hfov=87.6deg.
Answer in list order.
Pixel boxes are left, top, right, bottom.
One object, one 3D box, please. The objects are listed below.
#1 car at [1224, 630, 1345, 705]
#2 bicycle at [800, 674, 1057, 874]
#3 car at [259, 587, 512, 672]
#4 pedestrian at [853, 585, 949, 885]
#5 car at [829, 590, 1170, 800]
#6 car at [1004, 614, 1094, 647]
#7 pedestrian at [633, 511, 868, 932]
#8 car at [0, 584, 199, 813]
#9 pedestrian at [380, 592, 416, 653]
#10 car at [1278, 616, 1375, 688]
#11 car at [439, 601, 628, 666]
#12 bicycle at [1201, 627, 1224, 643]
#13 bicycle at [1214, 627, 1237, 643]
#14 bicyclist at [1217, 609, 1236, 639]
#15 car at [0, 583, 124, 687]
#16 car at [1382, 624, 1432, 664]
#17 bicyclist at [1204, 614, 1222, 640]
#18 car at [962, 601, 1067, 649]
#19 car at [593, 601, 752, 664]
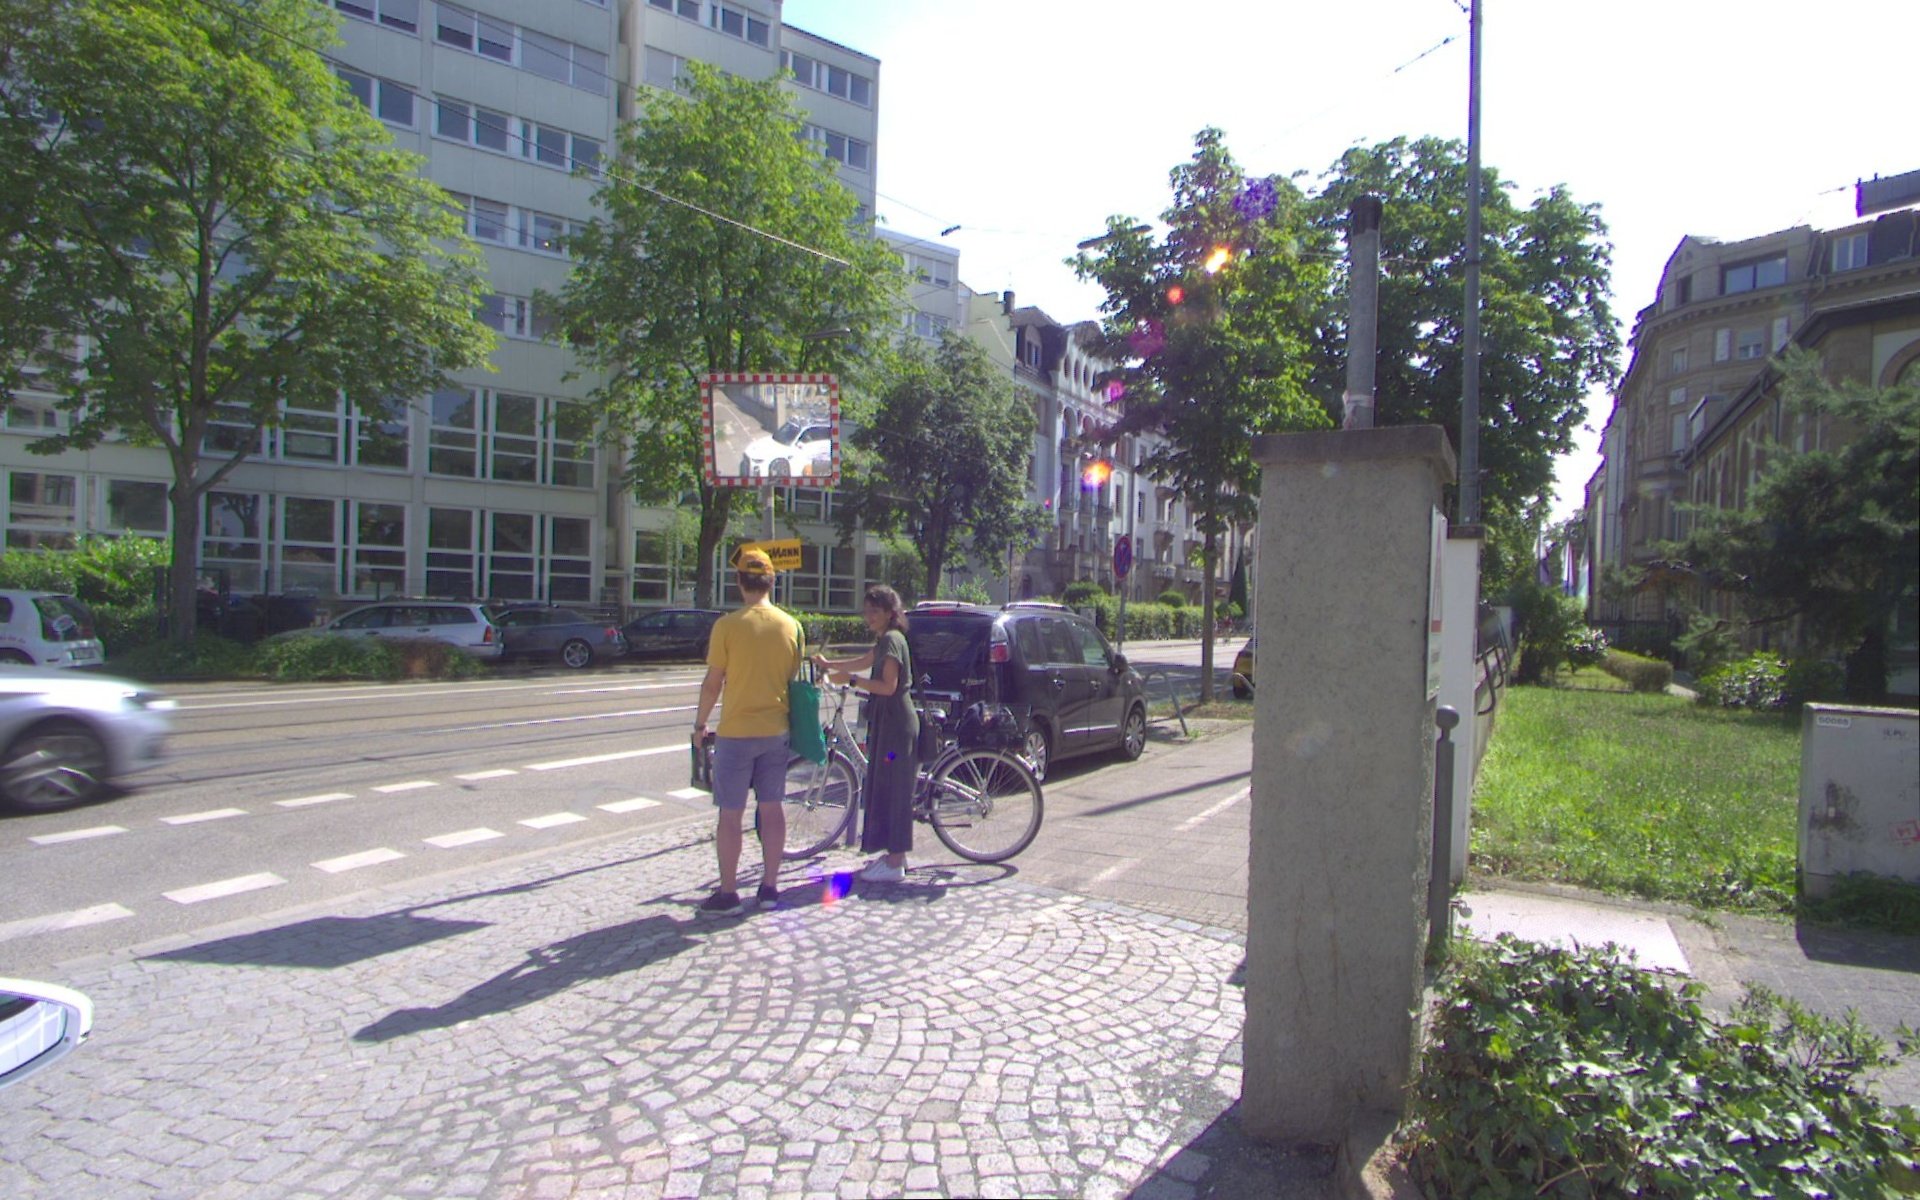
[{"bbox_3d":[7.218,1.402,22.024,1.828,1.430,3.984,1,-1,28],"label":"car"},{"bbox_3d":[-0.187,1.018,6.040,1.484,1.055,0.363,2,0,12],"label":"bicycle"},{"bbox_3d":[-11.724,0.629,20.746,4.270,1.625,1.555,2,-1,-19],"label":"car"},{"bbox_3d":[-0.331,0.749,5.746,0.445,1.642,0.422,-1,-1,12],"label":"pedestrian"},{"bbox_3d":[0.618,0.827,10.414,1.829,1.706,3.981,1,-1,31],"label":"car"},{"bbox_3d":[4.340,1.490,49.202,3.929,1.528,1.997,2,-1,-16],"label":"car"},{"bbox_3d":[-1.067,0.557,5.083,0.845,1.889,0.823,2,0,-40],"label":"pedestrian"},{"bbox_3d":[-7.542,0.590,5.837,1.863,1.426,4.575,3,0,29],"label":"car"},{"bbox_3d":[-13.932,0.556,24.841,0.417,1.480,0.620,2,0,27],"label":"pedestrian"},{"bbox_3d":[9.739,1.308,26.437,1.828,1.702,3.984,1,-1,28],"label":"car"},{"bbox_3d":[-9.885,0.784,23.493,3.875,1.375,1.556,2,0,-16],"label":"car"},{"bbox_3d":[15.585,2.150,61.689,0.670,0.929,2.309,2,0,32],"label":"bicycle"},{"bbox_3d":[16.186,2.143,61.028,0.670,0.929,2.309,2,0,32],"label":"bicycle"},{"bbox_3d":[16.215,1.456,60.920,0.793,1.824,0.860,2,0,33],"label":"bicyclist"},{"bbox_3d":[-15.148,0.485,14.854,3.874,1.505,1.610,1,0,-15],"label":"car"},{"bbox_3d":[20.853,2.014,46.624,1.828,1.702,3.984,1,-1,28],"label":"car"},{"bbox_3d":[15.544,1.658,61.580,0.793,1.563,0.860,2,0,33],"label":"bicyclist"},{"bbox_3d":[2.299,1.053,42.545,3.935,1.884,1.993,2,0,-23],"label":"car"},{"bbox_3d":[-7.548,0.852,26.451,3.875,1.505,1.556,2,0,-16],"label":"car"}]
